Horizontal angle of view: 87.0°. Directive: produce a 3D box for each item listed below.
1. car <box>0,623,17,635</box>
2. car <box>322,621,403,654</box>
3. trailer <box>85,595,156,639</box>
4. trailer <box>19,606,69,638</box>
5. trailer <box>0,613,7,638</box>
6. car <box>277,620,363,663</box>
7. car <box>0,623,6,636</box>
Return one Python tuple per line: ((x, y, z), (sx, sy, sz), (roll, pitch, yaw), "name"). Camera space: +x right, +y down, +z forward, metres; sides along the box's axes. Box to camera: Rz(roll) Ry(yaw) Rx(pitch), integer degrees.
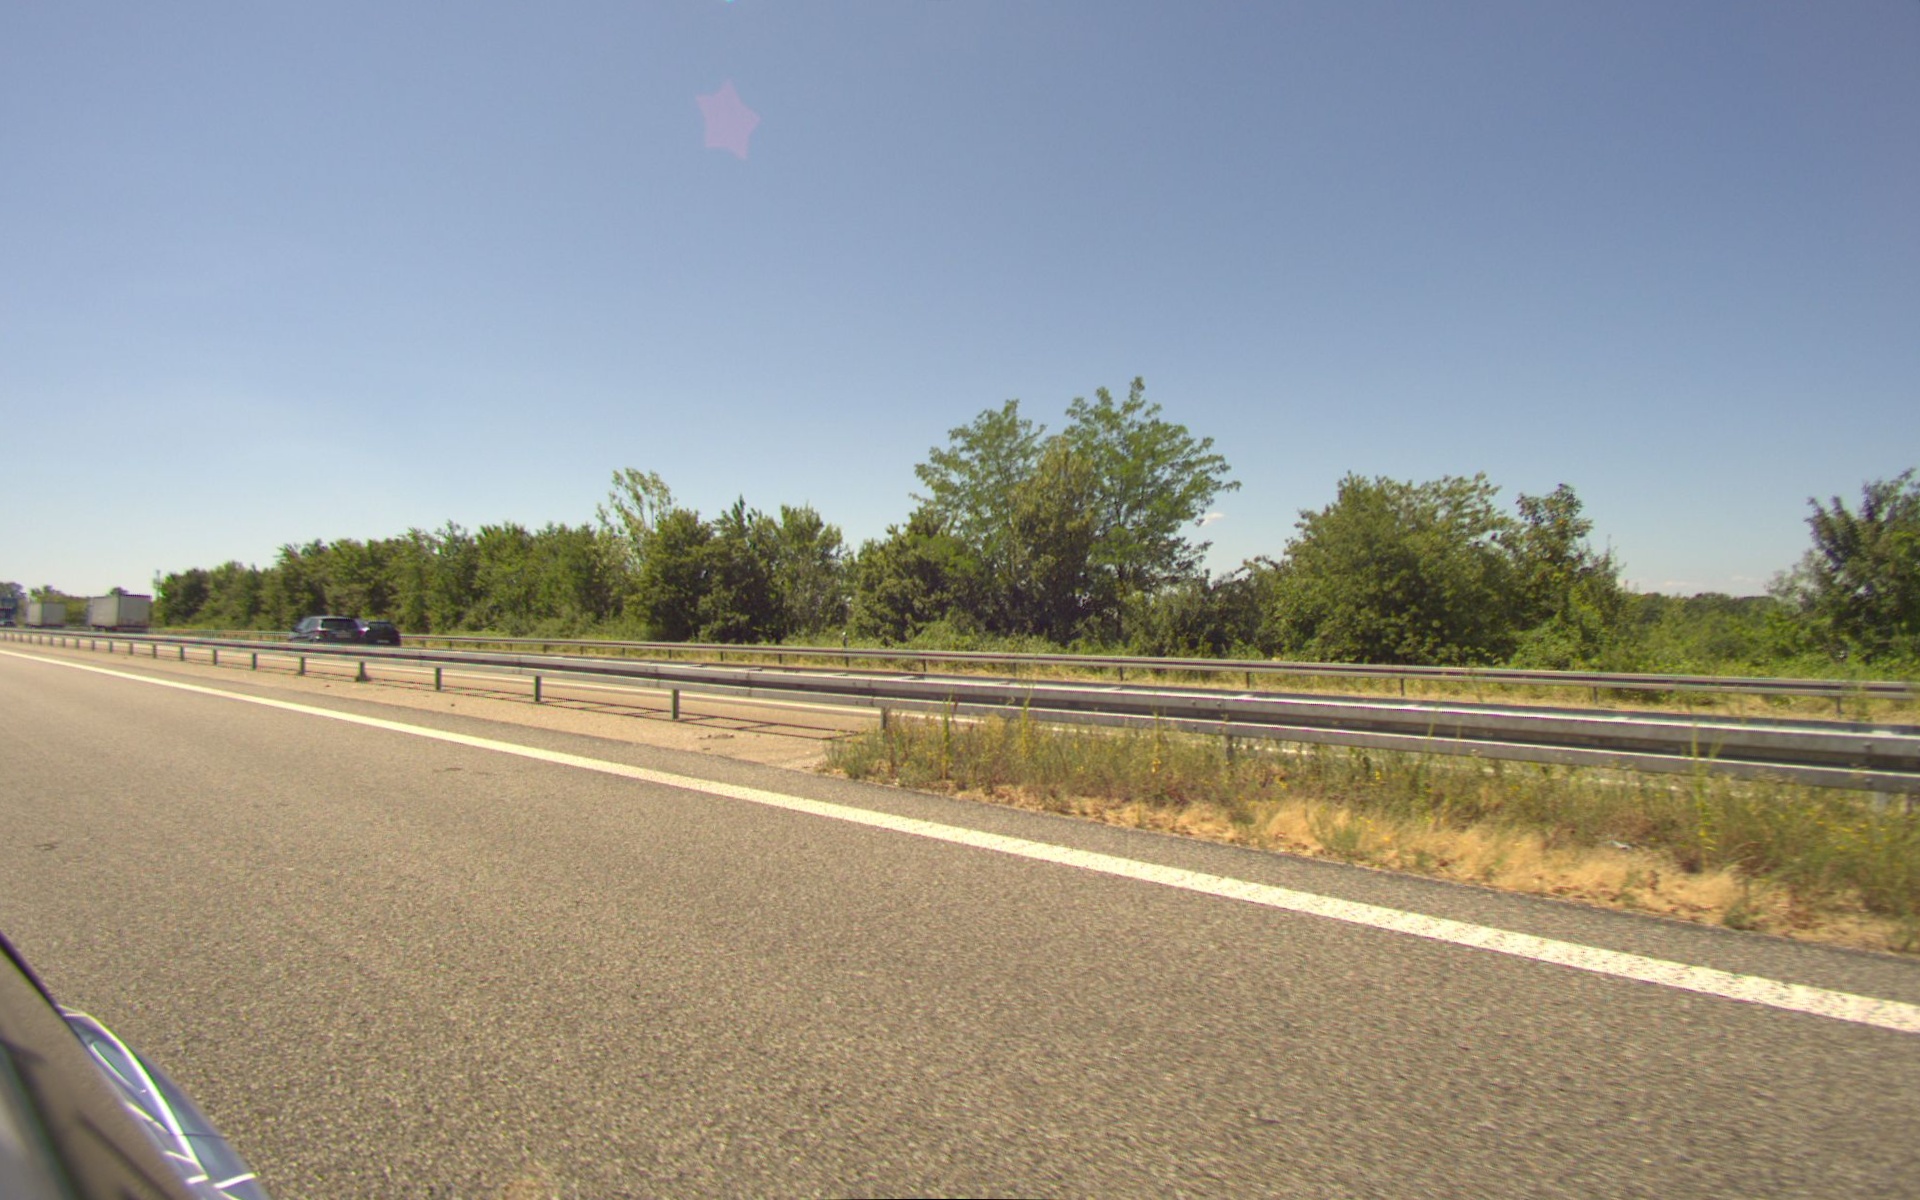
((-125.509, 3.825, 132.982), (4.312, 1.474, 1.831), (-1, 2, 41), "car")
((-27.547, 1.720, 46.602), (4.529, 1.412, 1.843), (-1, -3, 41), "car")
((-84.976, 1.836, 102.339), (13.533, 4.218, 3.263), (-2, -3, 41), "trailer")
((-124.939, 3.071, 137.928), (13.533, 4.218, 3.314), (-2, -3, 41), "trailer")
((-170.669, 4.445, 178.203), (13.535, 4.218, 2.889), (-1, -3, 42), "trailer")
((-23.298, 1.481, 36.769), (4.044, 1.473, 1.537), (-1, -2, 41), "car")
((-107.653, 3.287, 112.519), (4.740, 1.406, 1.830), (-1, -4, 41), "car")
